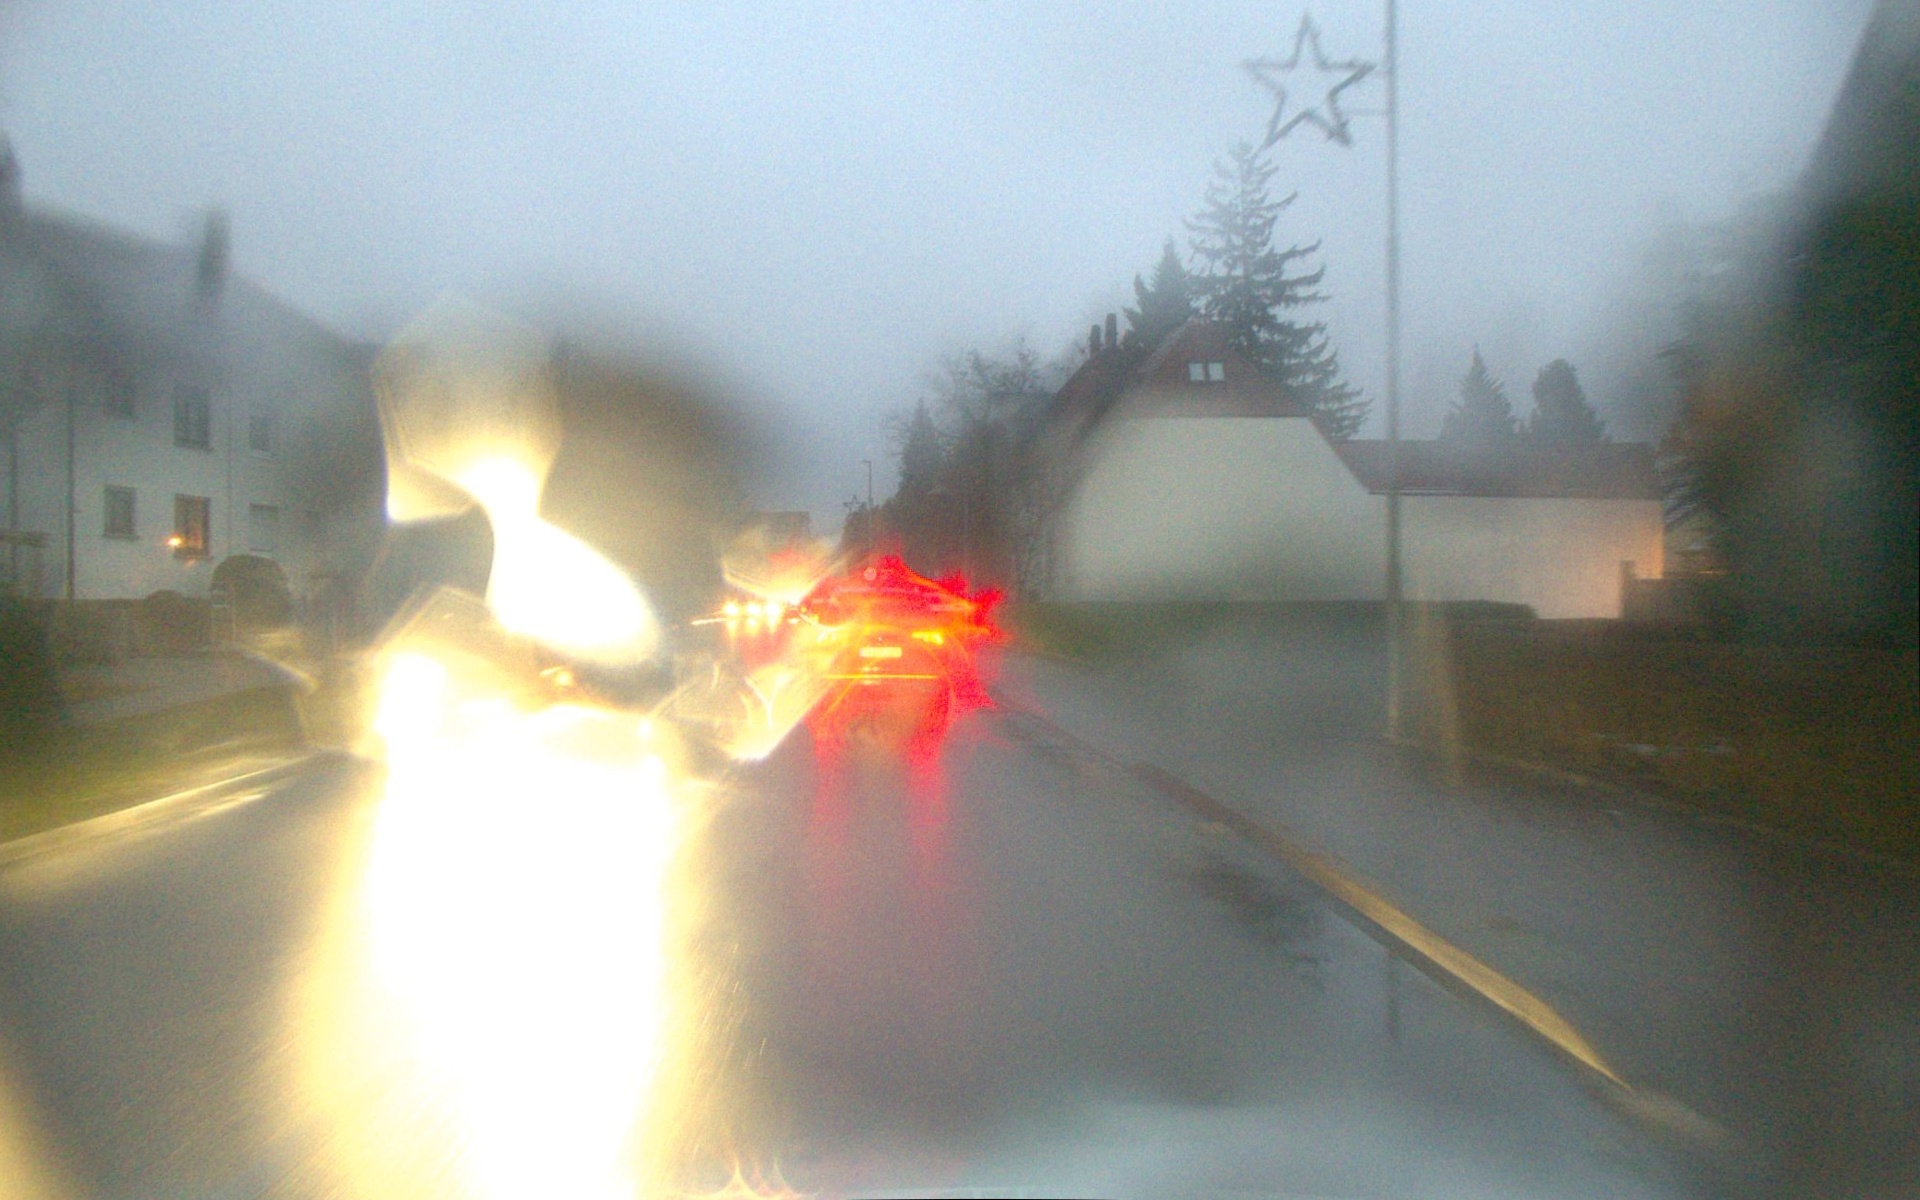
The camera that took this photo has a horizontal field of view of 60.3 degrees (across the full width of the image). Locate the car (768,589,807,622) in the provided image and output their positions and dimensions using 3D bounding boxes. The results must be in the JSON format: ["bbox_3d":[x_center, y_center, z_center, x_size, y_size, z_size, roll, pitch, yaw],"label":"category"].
[{"bbox_3d":[-10.514,0.360,100.553,2.266,1.972,5.009,0,-1,-8],"label":"car"}]

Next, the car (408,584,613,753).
[{"bbox_3d":[-4.788,0.666,18.109,1.790,1.581,3.990,-2,0,-11],"label":"car"}]

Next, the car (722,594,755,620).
[{"bbox_3d":[-14.333,0.445,107.196,1.875,1.549,3.997,0,2,-4],"label":"car"}]

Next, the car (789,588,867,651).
[{"bbox_3d":[-3.765,0.507,46.607,1.824,1.676,3.990,1,0,-10],"label":"car"}]

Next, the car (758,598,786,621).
[{"bbox_3d":[-13.713,0.681,120.908,1.875,1.456,3.997,0,2,-5],"label":"car"}]

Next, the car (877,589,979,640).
[{"bbox_3d":[-1.358,0.587,68.592,4.162,2.049,1.810,-1,0,-3],"label":"car"}]

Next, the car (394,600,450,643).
[{"bbox_3d":[-18.845,0.755,58.060,1.749,1.417,3.981,2,-1,-17],"label":"car"}]

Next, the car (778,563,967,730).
[{"bbox_3d":[-1.297,0.574,22.342,2.265,1.972,5.011,0,-1,-6],"label":"car"}]
